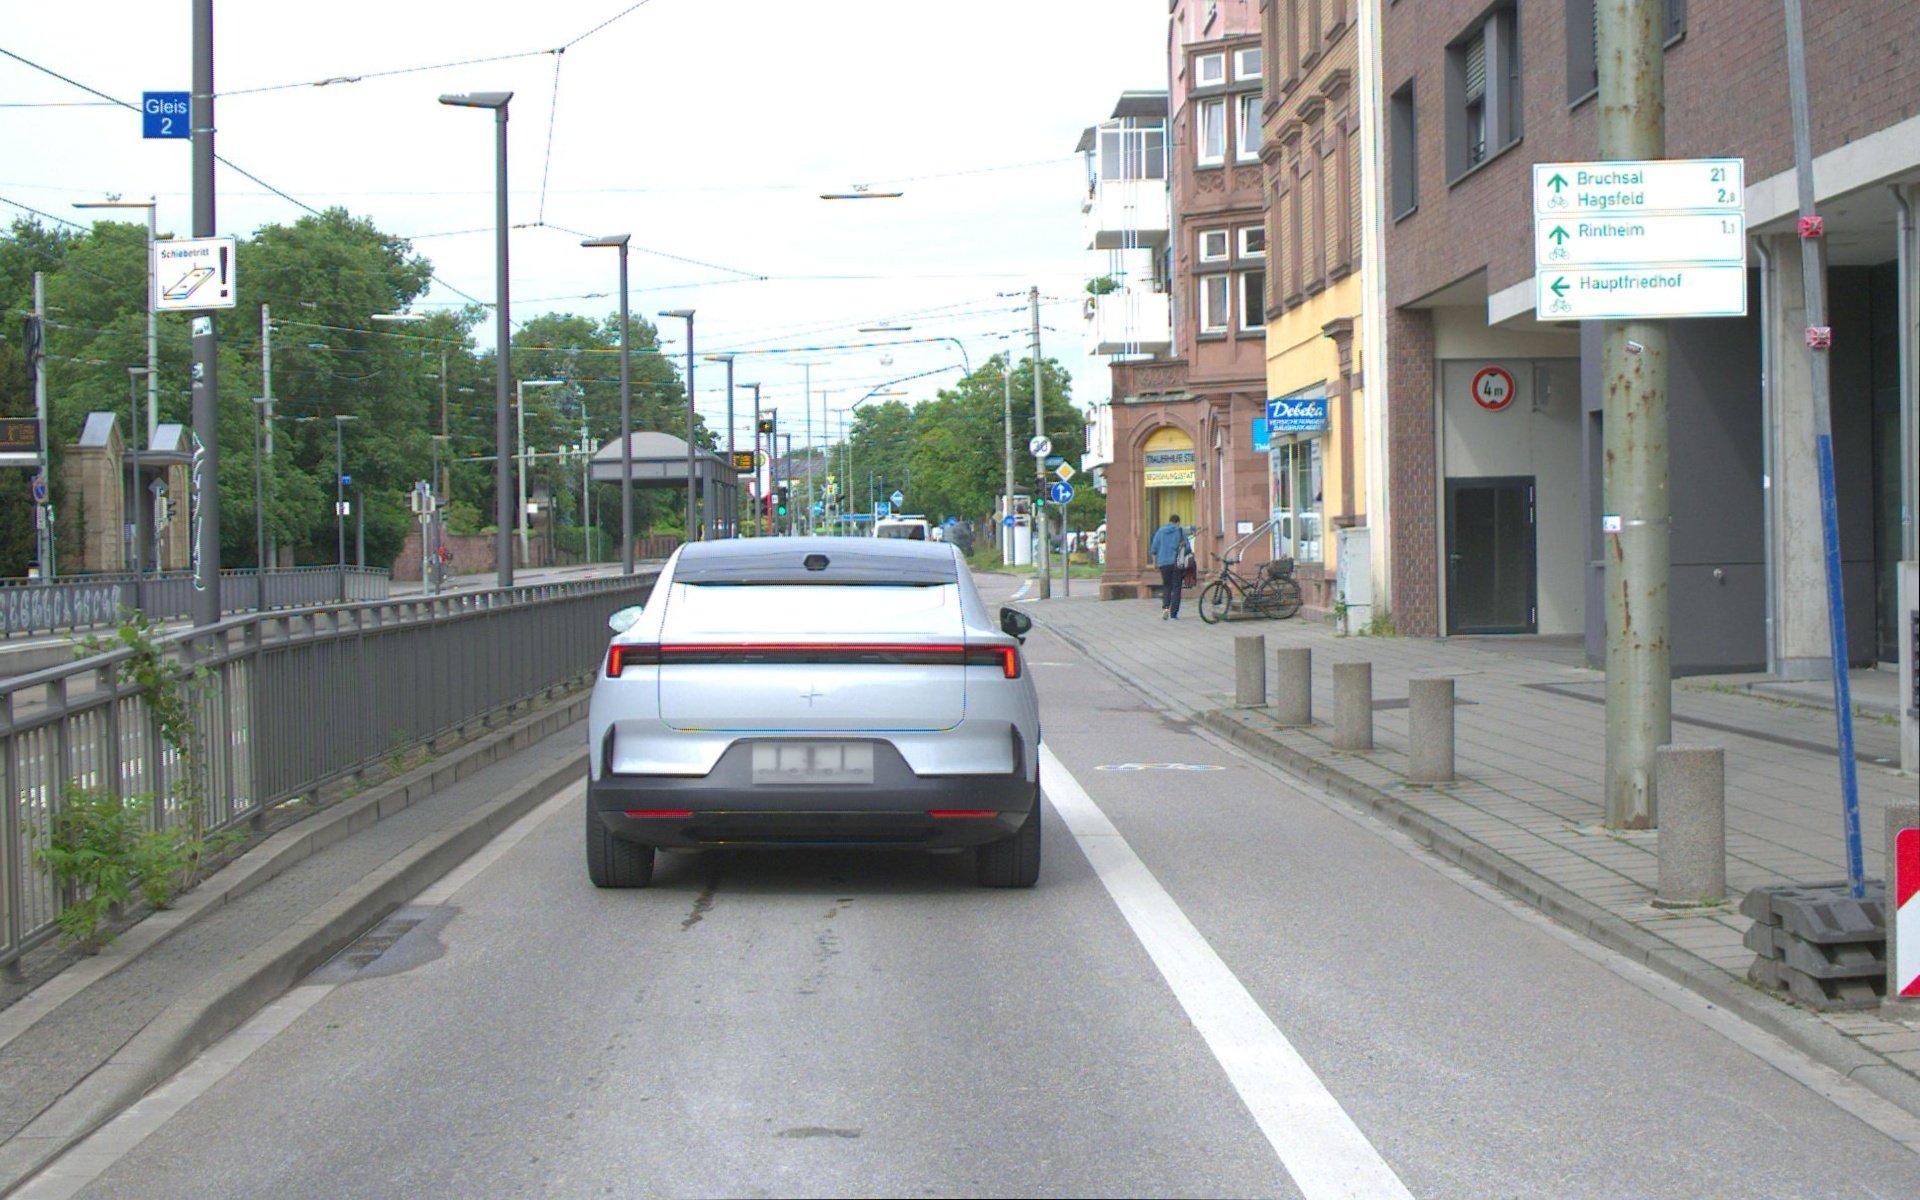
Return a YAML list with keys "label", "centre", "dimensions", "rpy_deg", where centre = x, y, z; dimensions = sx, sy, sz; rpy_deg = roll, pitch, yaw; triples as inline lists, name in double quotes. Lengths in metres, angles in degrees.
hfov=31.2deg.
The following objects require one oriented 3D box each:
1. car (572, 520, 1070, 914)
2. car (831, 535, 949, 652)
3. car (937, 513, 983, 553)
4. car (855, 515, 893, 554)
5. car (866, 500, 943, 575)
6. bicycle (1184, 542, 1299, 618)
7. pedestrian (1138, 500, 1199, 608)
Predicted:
- label: "car"
  centre: [-0.737, 0.449, 15.805]
  dimensions: [1.999, 1.575, 4.001]
  rpy_deg: [0, 0, -5]
- label: "car"
  centre: [-1.027, -0.118, 51.282]
  dimensions: [1.681, 1.682, 3.824]
  rpy_deg: [0, 1, -1]
- label: "car"
  centre: [-0.047, -4.211, 216.328]
  dimensions: [2.807, 2.496, 5.723]
  rpy_deg: [0, 1, -1]
- label: "car"
  centre: [-4.534, -3.476, 181.593]
  dimensions: [1.993, 2.007, 4.000]
  rpy_deg: [-1, 1, -1]
- label: "car"
  centre: [-1.858, -2.048, 113.165]
  dimensions: [2.225, 2.394, 5.124]
  rpy_deg: [0, 1, -4]
- label: "bicycle"
  centre: [4.647, -0.335, 56.817]
  dimensions: [1.777, 1.126, 0.642]
  rpy_deg: [-3, 1, -1]
- label: "pedestrian"
  centre: [3.696, -0.819, 60.833]
  dimensions: [0.961, 1.843, 0.975]
  rpy_deg: [-3, 2, 5]
